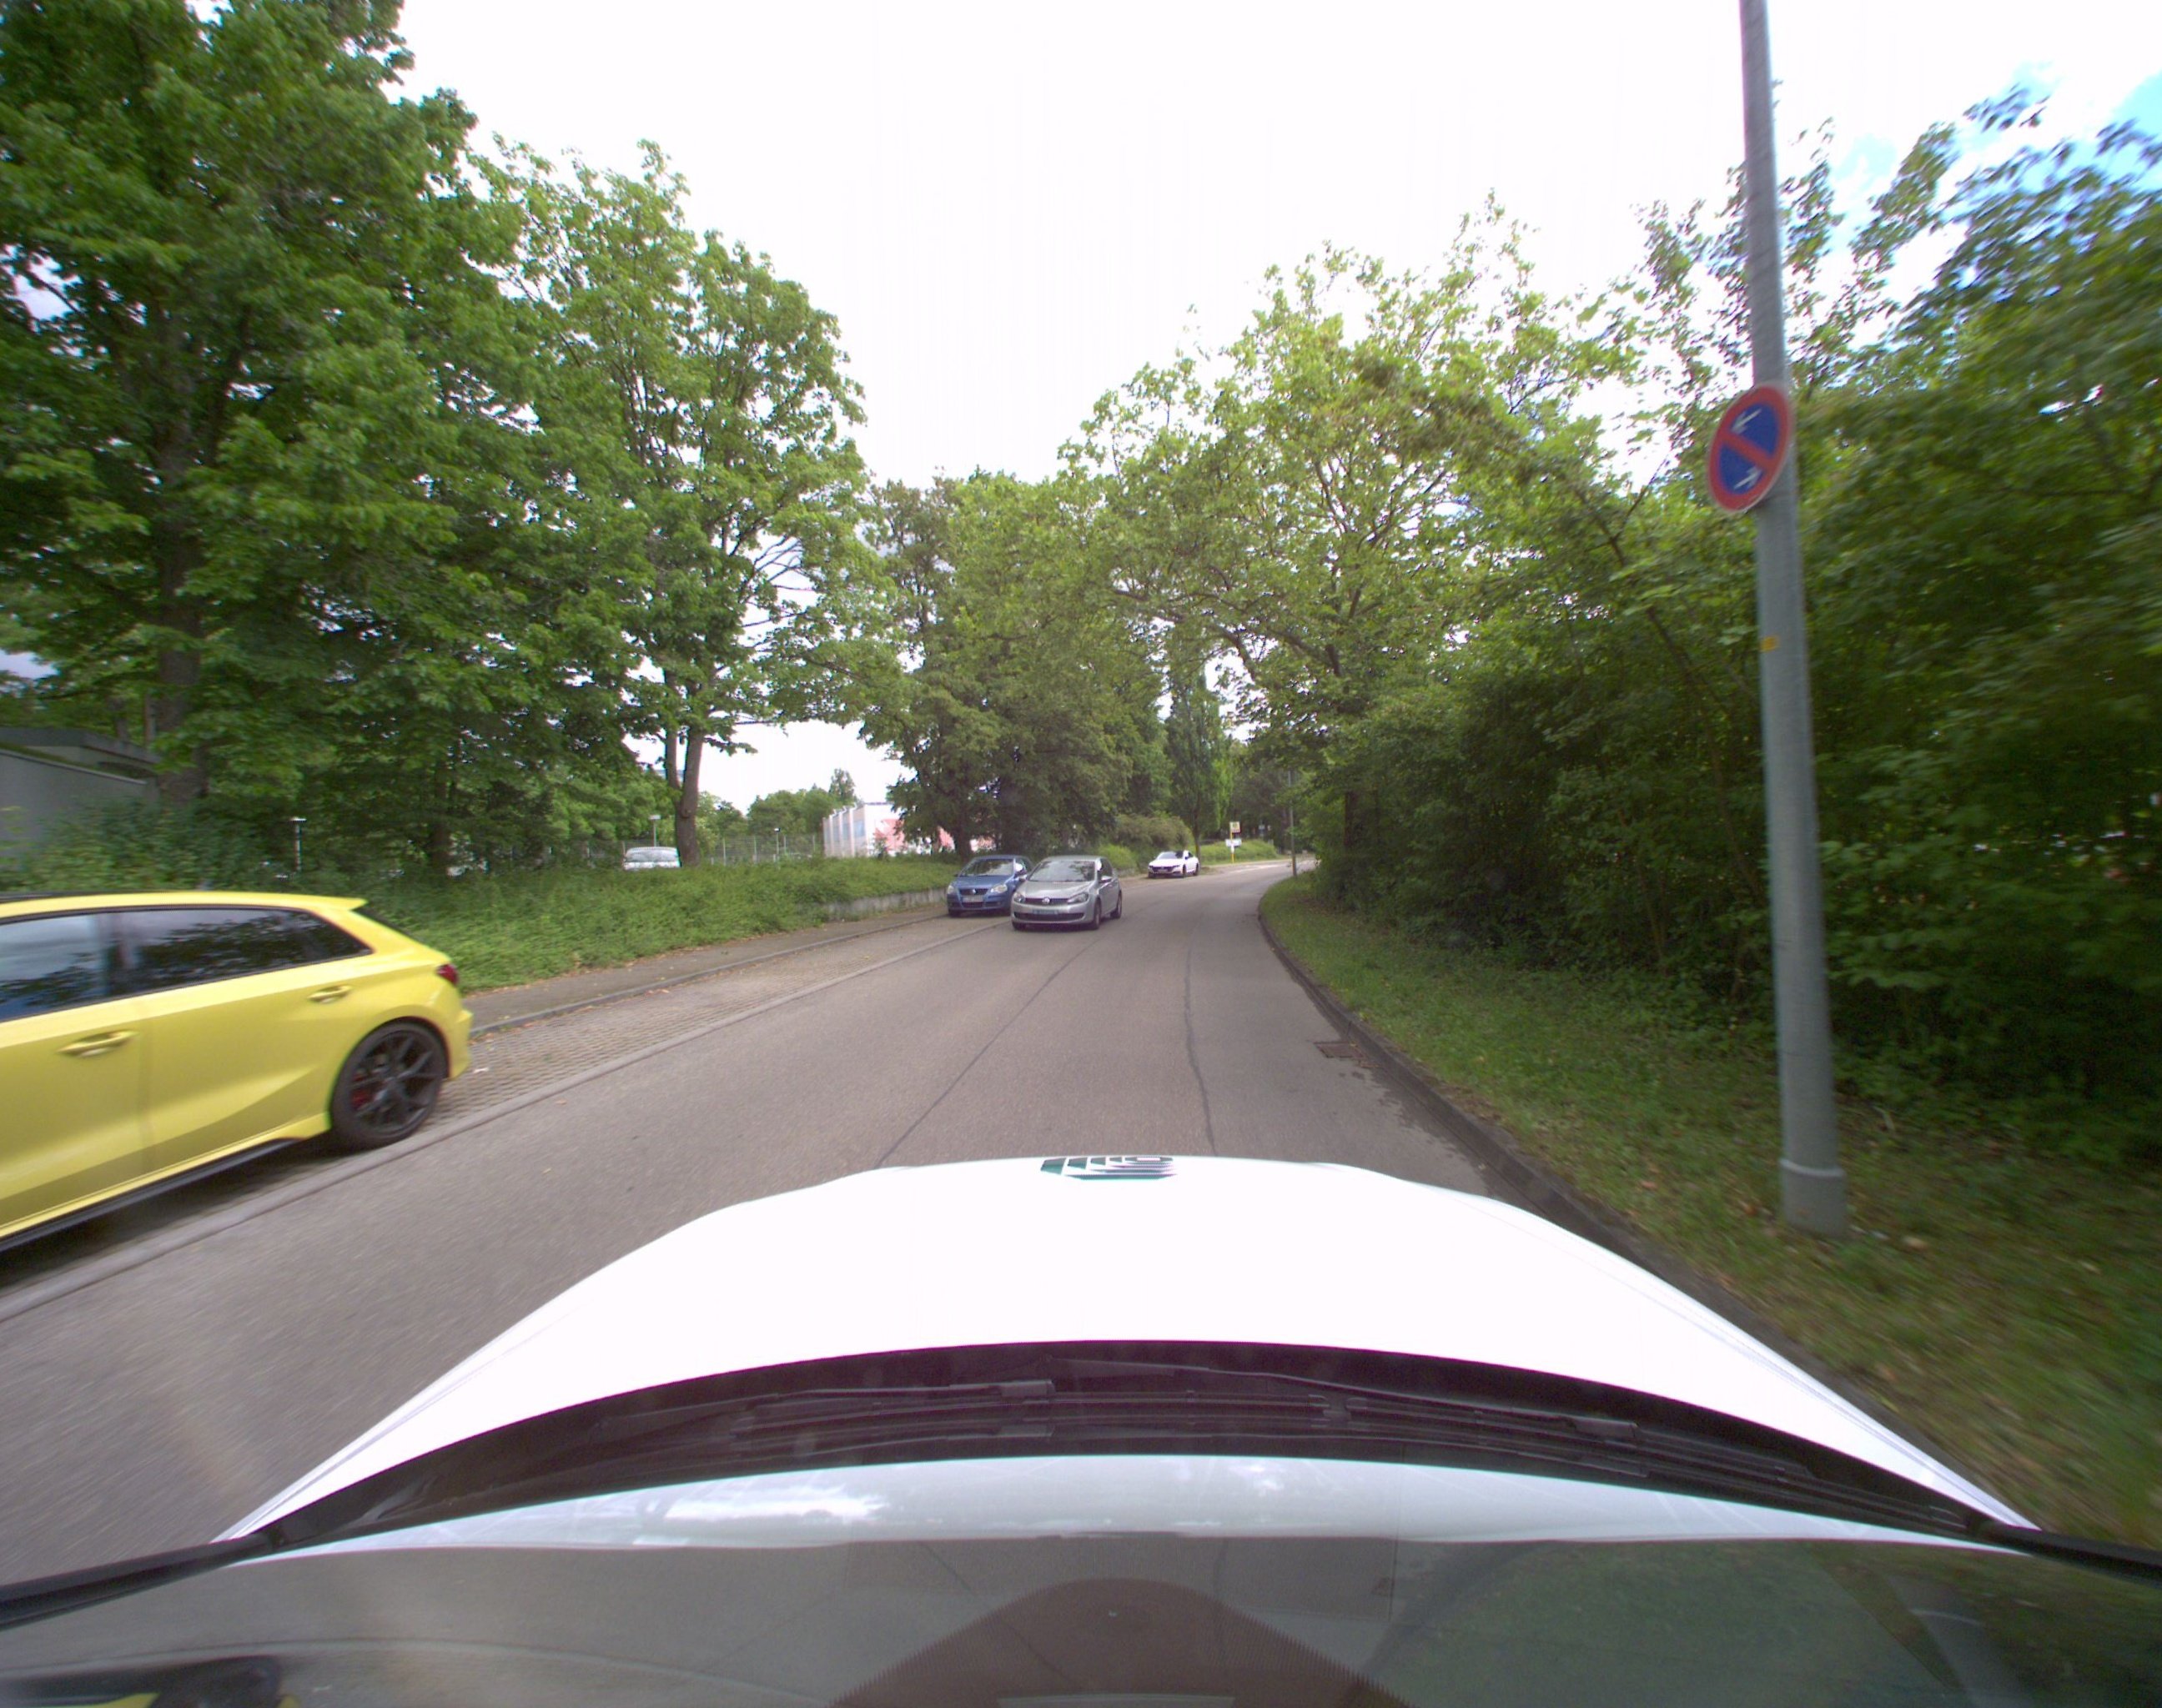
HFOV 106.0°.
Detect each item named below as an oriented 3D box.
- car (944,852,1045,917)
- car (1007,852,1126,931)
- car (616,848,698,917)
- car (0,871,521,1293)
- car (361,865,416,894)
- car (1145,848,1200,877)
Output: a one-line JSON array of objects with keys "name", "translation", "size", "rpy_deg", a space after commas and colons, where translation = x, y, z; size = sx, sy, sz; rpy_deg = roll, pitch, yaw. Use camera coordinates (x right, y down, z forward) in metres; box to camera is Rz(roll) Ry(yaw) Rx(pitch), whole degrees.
[{"name": "car", "translation": [-2.117, 0.710, 20.861], "size": [1.524, 1.459, 3.731], "rpy_deg": [-2, 0, 10]}, {"name": "car", "translation": [-0.183, 0.716, 17.558], "size": [1.665, 1.462, 4.075], "rpy_deg": [0, 0, 12]}, {"name": "car", "translation": [-11.611, 0.696, 22.277], "size": [1.751, 1.622, 3.837], "rpy_deg": [-4, 2, -28]}, {"name": "car", "translation": [-4.538, 0.823, 3.114], "size": [1.693, 1.403, 4.275], "rpy_deg": [-2, 0, 2]}, {"name": "car", "translation": [-44.499, 1.605, 52.438], "size": [2.007, 1.684, 3.960], "rpy_deg": [-4, 1, -31]}, {"name": "car", "translation": [4.861, 0.423, 42.738], "size": [1.798, 1.424, 4.383], "rpy_deg": [-1, 0, 21]}]
